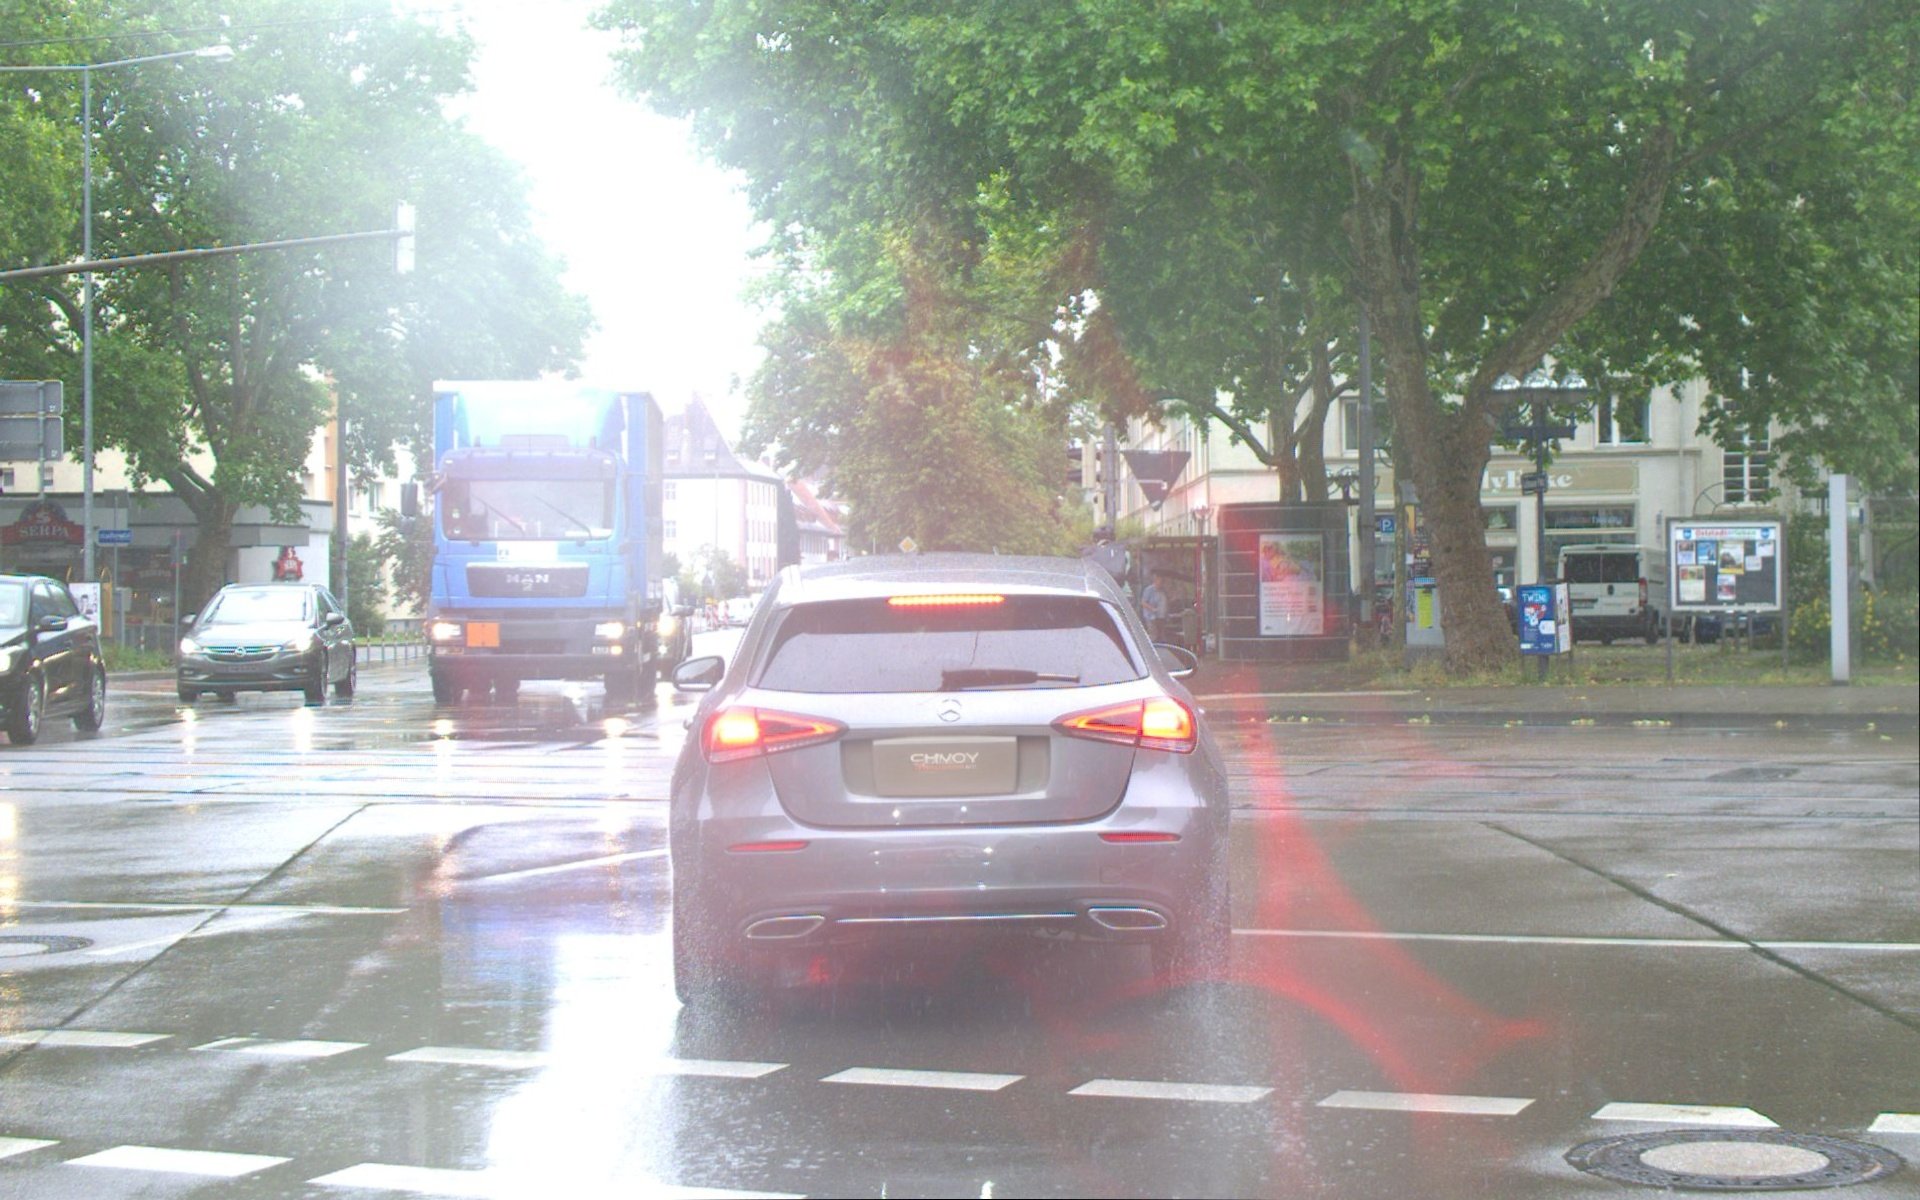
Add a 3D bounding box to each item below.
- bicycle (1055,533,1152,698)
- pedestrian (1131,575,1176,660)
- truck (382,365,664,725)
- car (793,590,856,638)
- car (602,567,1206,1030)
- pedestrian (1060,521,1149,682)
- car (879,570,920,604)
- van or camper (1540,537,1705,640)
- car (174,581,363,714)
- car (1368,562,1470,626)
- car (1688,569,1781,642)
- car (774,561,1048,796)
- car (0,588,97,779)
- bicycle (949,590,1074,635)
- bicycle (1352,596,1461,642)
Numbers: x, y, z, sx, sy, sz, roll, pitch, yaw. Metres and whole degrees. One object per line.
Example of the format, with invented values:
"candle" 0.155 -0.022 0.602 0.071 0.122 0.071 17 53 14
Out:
"bicycle" 1.287 0.126 30.372 0.749 1.372 2.707 -2 0 4
"pedestrian" 3.849 0.349 68.544 0.716 1.663 0.665 0 0 -13
"truck" -5.377 -0.637 43.997 2.845 4.012 10.317 -1 0 -4
"car" -4.612 0.484 116.635 1.993 1.569 4.000 -1 0 -4
"car" -0.259 0.590 12.017 1.791 1.368 3.507 1 0 -3
"pedestrian" 1.291 0.008 30.634 0.744 1.393 1.047 -2 0 3
"car" -3.293 -0.707 188.270 2.046 1.830 4.792 -1 0 1
"van or camper" 15.055 -0.242 77.878 2.399 2.224 5.422 -1 0 25
"car" -8.650 0.562 43.309 1.726 1.541 4.341 -1 0 -4
"car" 10.574 -0.119 79.095 1.584 1.332 3.258 -1 -2 21
"car" 17.251 0.139 76.477 1.681 1.570 3.732 -1 -1 18
"car" -0.402 0.460 22.584 1.607 1.368 4.000 -1 0 -3
"car" -8.665 0.687 29.514 1.743 1.541 3.779 -1 0 -4
"bicycle" 1.397 0.330 93.501 3.205 1.108 1.054 -1 -3 -21
"bicycle" 9.639 0.415 74.189 2.249 0.965 0.584 -1 0 20
